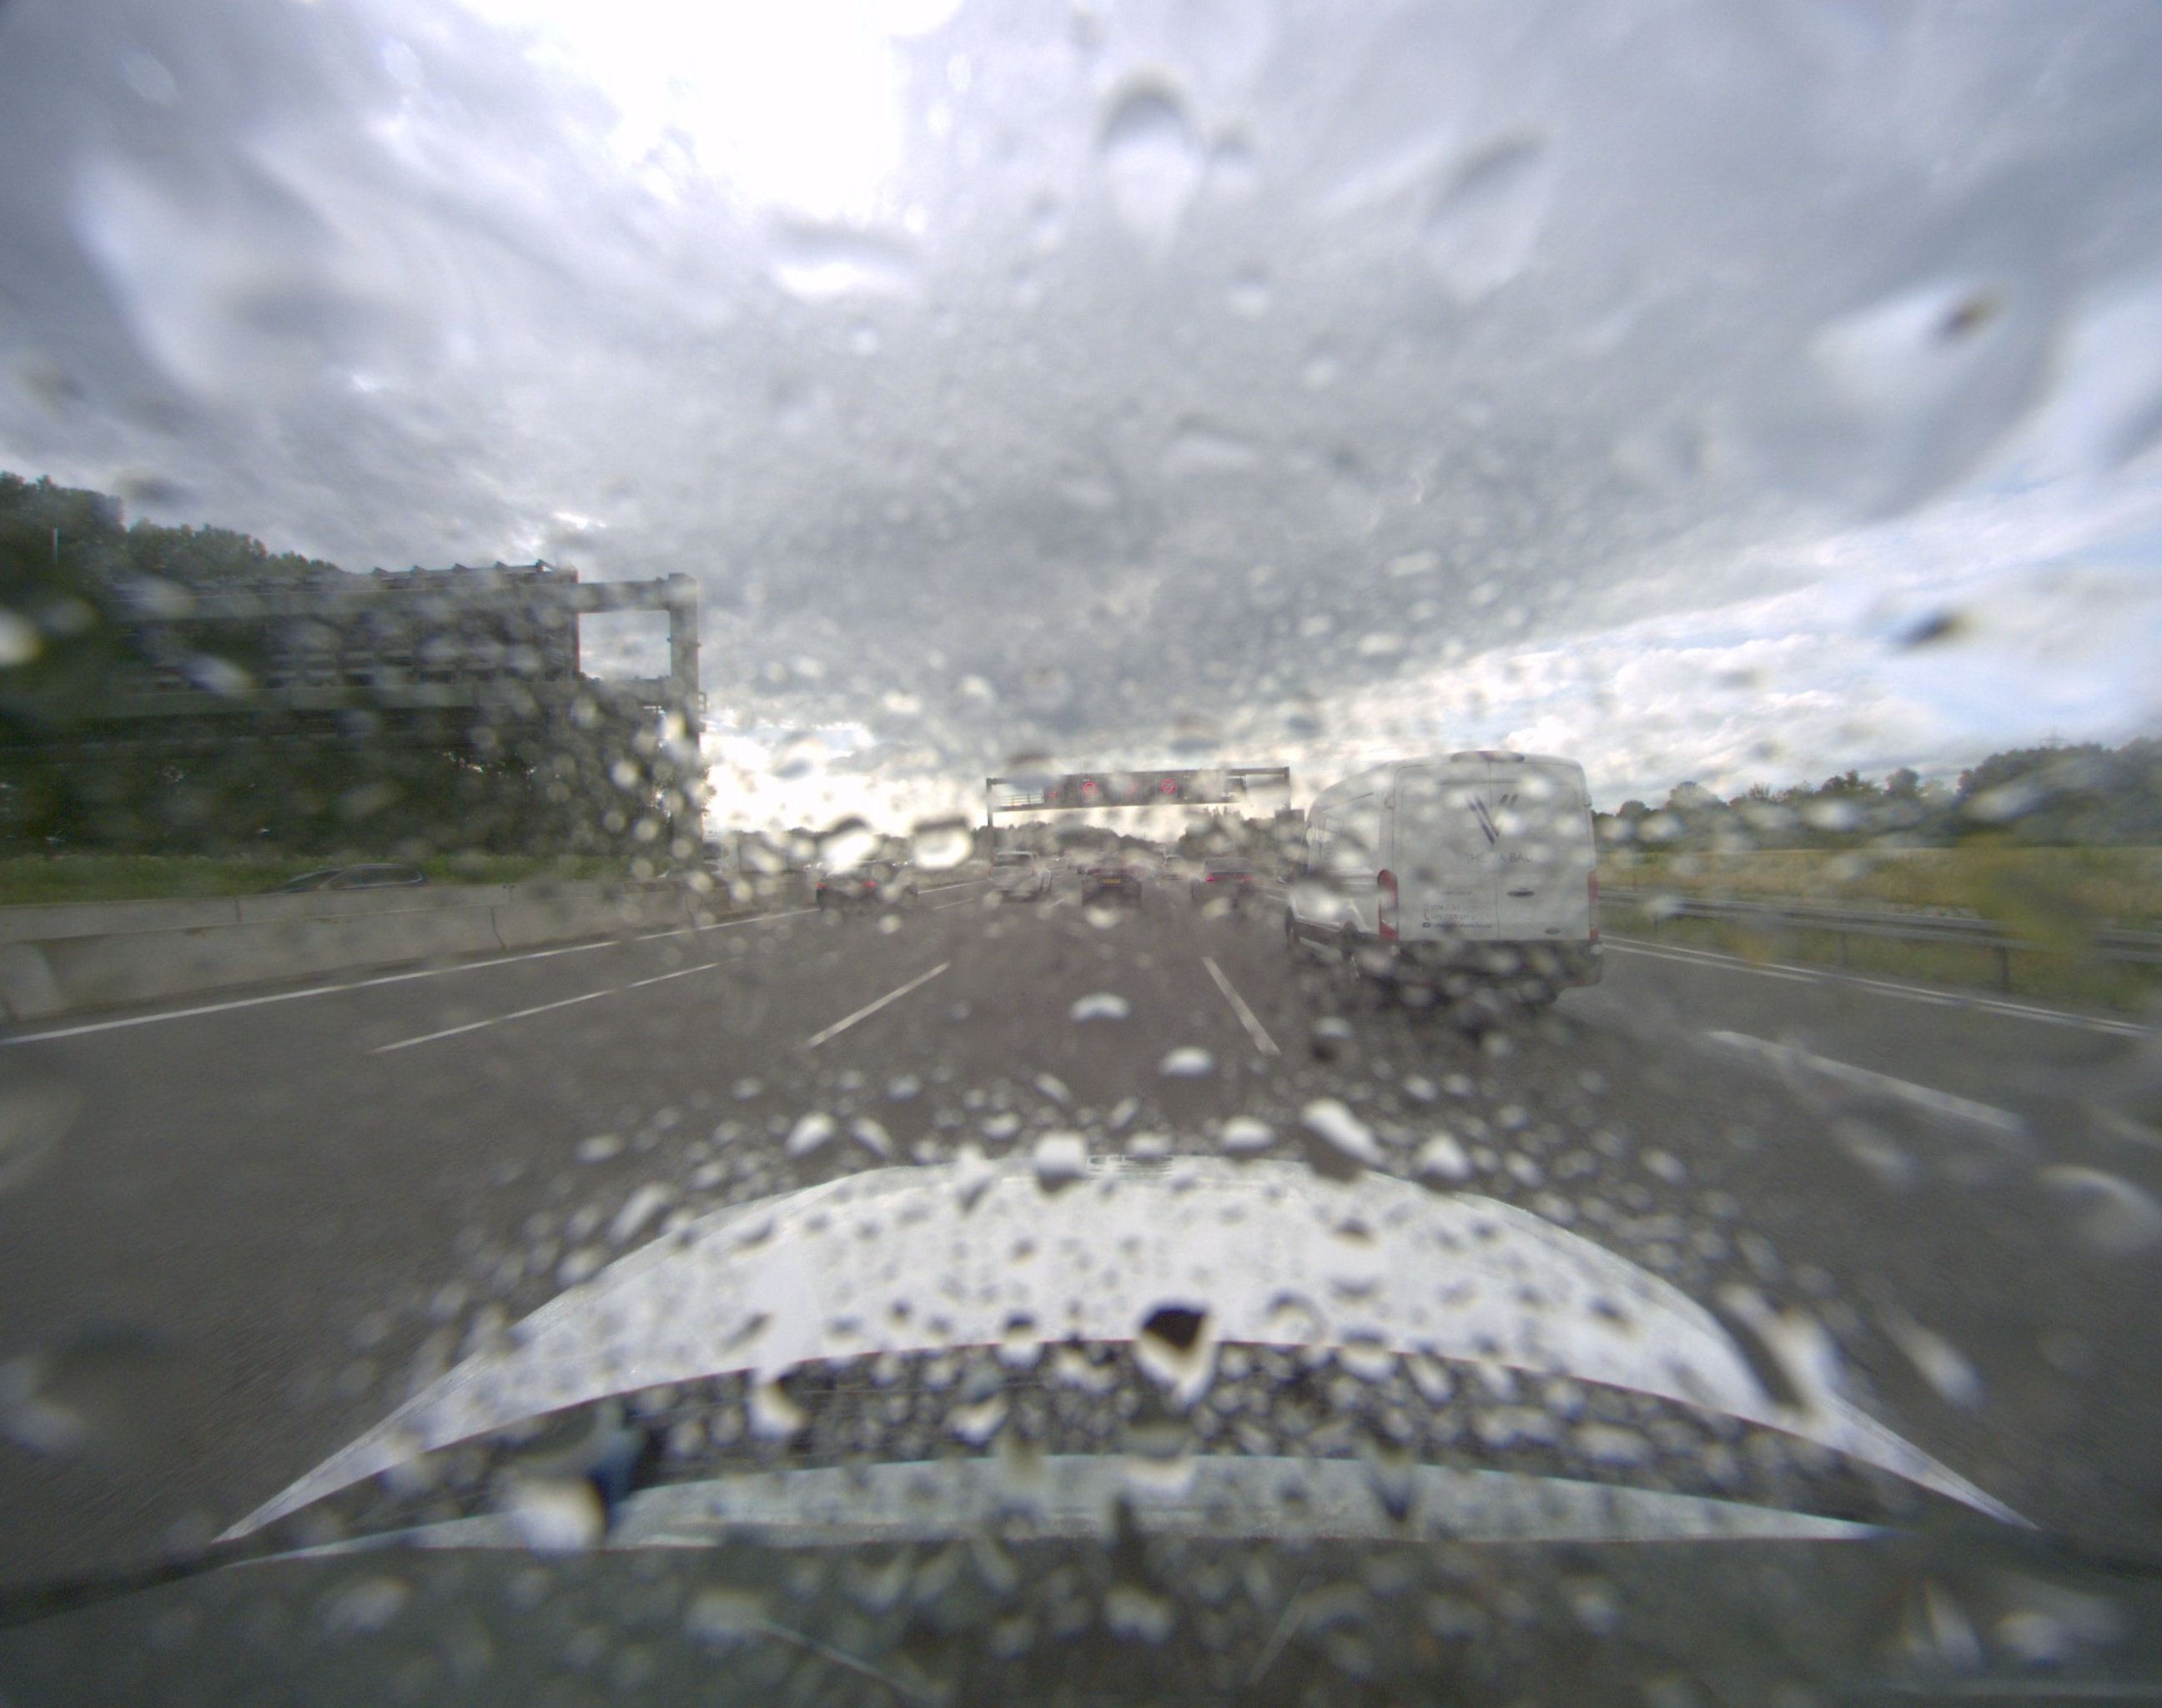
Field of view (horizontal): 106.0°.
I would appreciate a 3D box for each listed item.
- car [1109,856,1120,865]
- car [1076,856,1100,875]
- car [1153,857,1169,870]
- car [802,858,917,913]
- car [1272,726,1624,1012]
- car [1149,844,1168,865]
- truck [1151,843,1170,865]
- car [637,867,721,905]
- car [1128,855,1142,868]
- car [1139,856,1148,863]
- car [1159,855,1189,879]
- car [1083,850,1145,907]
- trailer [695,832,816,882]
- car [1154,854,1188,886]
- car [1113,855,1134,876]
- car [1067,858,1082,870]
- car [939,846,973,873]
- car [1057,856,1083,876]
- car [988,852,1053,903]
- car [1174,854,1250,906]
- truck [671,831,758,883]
[{"bbox_3d":[6.207,1.205,148.662,1.873,1.686,4.004,-1,0,4],"label":"car"},{"bbox_3d":[0.647,1.031,73.187,1.873,1.686,4.004,-1,0,4],"label":"car"},{"bbox_3d":[9.195,1.047,93.172,1.786,1.477,4.044,-1,0,6],"label":"car"},{"bbox_3d":[-6.385,0.864,23.995,1.771,1.481,4.360,-1,0,6],"label":"car"},{"bbox_3d":[3.857,0.155,9.897,2.130,2.501,5.454,-1,0,4],"label":"car"},{"bbox_3d":[11.249,0.125,118.990,2.556,2.895,7.541,-1,0,4],"label":"car"},{"bbox_3d":[13.993,-0.018,143.858,3.118,3.709,9.861,-1,0,5],"label":"truck"},{"bbox_3d":[-19.737,1.542,40.207,1.985,1.727,4.021,-1,0,3],"label":"car"},{"bbox_3d":[7.545,1.045,113.775,1.873,1.686,4.004,-1,0,4],"label":"car"},{"bbox_3d":[14.720,1.287,191.795,1.874,1.686,4.002,-1,0,2],"label":"car"},{"bbox_3d":[6.279,0.865,55.367,1.802,1.599,4.701,-1,0,4],"label":"car"},{"bbox_3d":[1.002,0.730,25.909,1.774,1.613,4.598,-1,0,1],"label":"car"},{"bbox_3d":[-25.490,0.266,65.122,3.096,3.508,14.465,-1,0,3],"label":"trailer"},{"bbox_3d":[4.922,0.846,44.240,1.697,1.631,4.466,-1,0,7],"label":"car"},{"bbox_3d":[3.625,0.943,69.068,1.762,1.686,4.004,-1,0,4],"label":"car"},{"bbox_3d":[-0.783,1.196,97.912,1.556,1.477,3.923,-1,0,4],"label":"car"},{"bbox_3d":[-12.337,0.531,80.761,1.985,2.616,6.348,-1,0,3],"label":"car"},{"bbox_3d":[-0.868,0.992,69.141,1.873,1.686,4.004,-1,0,4],"label":"car"},{"bbox_3d":[-2.161,0.812,30.077,1.773,1.716,4.357,-1,0,4],"label":"car"},{"bbox_3d":[4.030,0.767,25.739,1.931,1.491,4.780,-1,0,4],"label":"car"},{"bbox_3d":[-25.909,0.216,57.972,3.122,3.508,6.105,-1,-1,3],"label":"truck"}]
